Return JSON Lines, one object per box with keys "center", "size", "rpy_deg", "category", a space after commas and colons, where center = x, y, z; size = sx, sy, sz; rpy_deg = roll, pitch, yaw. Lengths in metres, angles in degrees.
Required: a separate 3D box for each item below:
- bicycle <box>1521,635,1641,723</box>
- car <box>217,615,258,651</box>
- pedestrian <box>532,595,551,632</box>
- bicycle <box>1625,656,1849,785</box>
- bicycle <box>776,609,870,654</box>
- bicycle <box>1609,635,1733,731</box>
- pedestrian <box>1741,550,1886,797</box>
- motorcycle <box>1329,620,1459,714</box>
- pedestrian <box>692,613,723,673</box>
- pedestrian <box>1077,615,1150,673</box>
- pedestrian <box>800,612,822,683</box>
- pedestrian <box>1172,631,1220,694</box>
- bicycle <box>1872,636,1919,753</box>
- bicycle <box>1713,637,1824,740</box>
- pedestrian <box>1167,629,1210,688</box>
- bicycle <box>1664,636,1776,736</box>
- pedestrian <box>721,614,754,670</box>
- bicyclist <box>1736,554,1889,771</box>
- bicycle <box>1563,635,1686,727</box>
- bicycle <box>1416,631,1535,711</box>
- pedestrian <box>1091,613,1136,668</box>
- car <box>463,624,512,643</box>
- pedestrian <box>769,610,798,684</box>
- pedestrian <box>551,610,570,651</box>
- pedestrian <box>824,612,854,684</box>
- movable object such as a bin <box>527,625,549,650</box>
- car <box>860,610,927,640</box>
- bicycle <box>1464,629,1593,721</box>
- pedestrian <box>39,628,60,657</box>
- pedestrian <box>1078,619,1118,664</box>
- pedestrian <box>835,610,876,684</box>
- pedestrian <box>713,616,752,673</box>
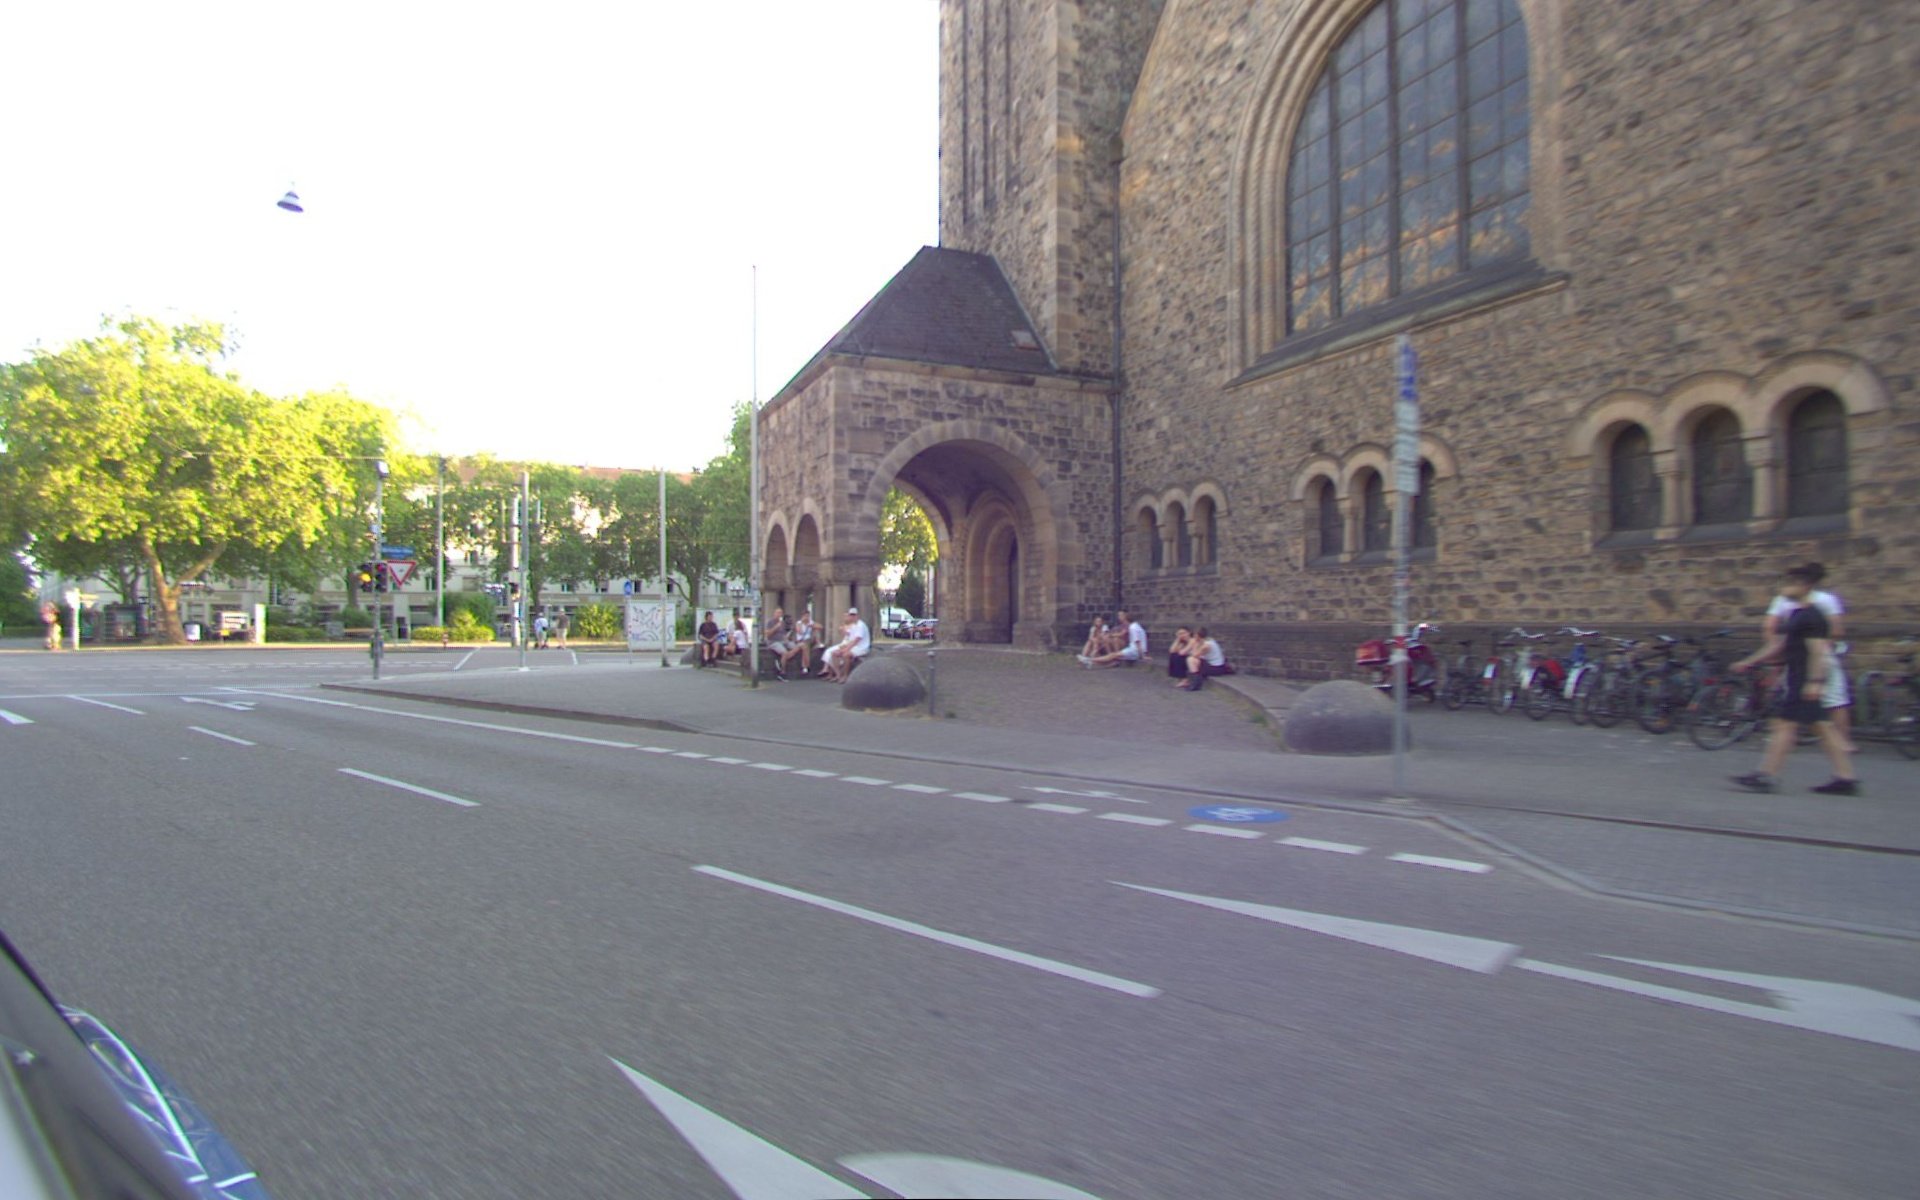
{"center": [7.614, 0.933, 12.374], "size": [1.974, 0.997, 0.467], "rpy_deg": [1, -2, -34], "category": "bicycle"}
{"center": [-43.122, 1.960, 60.470], "size": [1.837, 2.029, 3.820], "rpy_deg": [1, -2, -34], "category": "car"}
{"center": [-19.148, 0.631, 46.303], "size": [0.708, 1.646, 1.010], "rpy_deg": [1, -2, -29], "category": "pedestrian"}
{"center": [7.283, 1.089, 9.475], "size": [2.150, 1.020, 0.555], "rpy_deg": [-1, 0, -19], "category": "bicycle"}
{"center": [-3.341, 0.769, 24.795], "size": [2.247, 1.065, 0.597], "rpy_deg": [1, -2, -31], "category": "bicycle"}
{"center": [8.086, 0.905, 11.479], "size": [1.957, 0.997, 0.467], "rpy_deg": [1, -2, -34], "category": "bicycle"}
{"center": [6.418, 0.526, 7.611], "size": [0.681, 1.738, 0.717], "rpy_deg": [1, -2, -42], "category": "pedestrian"}
{"center": [6.103, 0.888, 14.143], "size": [0.822, 1.134, 2.387], "rpy_deg": [-2, 0, 45], "category": "motorcycle"}
{"center": [-6.394, 1.079, 25.601], "size": [0.619, 1.465, 0.918], "rpy_deg": [1, -2, -23], "category": "pedestrian"}
{"center": [2.978, 0.848, 19.731], "size": [1.315, 1.102, 0.685], "rpy_deg": [0, -2, 2], "category": "pedestrian"}
{"center": [-3.014, 0.951, 20.475], "size": [0.395, 1.417, 0.549], "rpy_deg": [0, -2, -14], "category": "pedestrian"}
{"center": [3.790, 0.993, 16.270], "size": [0.688, 0.999, 0.560], "rpy_deg": [0, -2, 8], "category": "pedestrian"}
{"center": [9.078, 0.843, 9.406], "size": [1.853, 0.997, 0.442], "rpy_deg": [1, -2, -34], "category": "bicycle"}
{"center": [8.544, 0.895, 10.666], "size": [1.853, 0.997, 0.371], "rpy_deg": [1, -2, -34], "category": "bicycle"}
{"center": [3.809, 0.967, 16.878], "size": [0.642, 0.975, 0.560], "rpy_deg": [0, -2, 8], "category": "pedestrian"}
{"center": [8.310, 0.905, 11.040], "size": [1.853, 0.997, 0.371], "rpy_deg": [1, -2, -34], "category": "bicycle"}
{"center": [-5.685, 1.064, 25.862], "size": [0.790, 1.385, 0.701], "rpy_deg": [0, -2, -15], "category": "pedestrian"}
{"center": [7.871, 0.538, 9.354], "size": [0.926, 1.894, 0.710], "rpy_deg": [-1, -1, -24], "category": "bicyclist"}
{"center": [7.850, 0.923, 11.918], "size": [1.974, 0.997, 0.467], "rpy_deg": [1, -2, -34], "category": "bicycle"}
{"center": [6.962, 0.921, 13.639], "size": [1.975, 0.997, 0.587], "rpy_deg": [1, -2, -36], "category": "bicycle"}
{"center": [3.089, 0.816, 20.426], "size": [0.819, 1.084, 0.647], "rpy_deg": [0, -2, 1], "category": "pedestrian"}
{"center": [-44.741, 3.179, 95.885], "size": [3.932, 1.719, 2.006], "rpy_deg": [0, -2, -15], "category": "car"}
{"center": [-3.536, 0.930, 20.262], "size": [0.541, 1.464, 0.559], "rpy_deg": [0, -2, -14], "category": "pedestrian"}
{"center": [-18.384, 1.392, 46.559], "size": [0.699, 1.861, 1.163], "rpy_deg": [1, -2, -29], "category": "pedestrian"}
{"center": [-2.404, 0.953, 20.161], "size": [0.539, 1.417, 0.460], "rpy_deg": [0, -2, -14], "category": "pedestrian"}
{"center": [-19.700, 1.739, 47.278], "size": [0.847, 1.128, 1.141], "rpy_deg": [1, -2, -28], "category": "movable object such as a bin"}
{"center": [-5.860, 2.212, 89.405], "size": [5.482, 2.638, 2.006], "rpy_deg": [0, -2, -25], "category": "car"}
{"center": [7.308, 0.923, 12.975], "size": [1.975, 0.996, 0.587], "rpy_deg": [-3, 0, -34], "category": "bicycle"}
{"center": [-51.532, 2.400, 57.282], "size": [0.734, 1.641, 0.661], "rpy_deg": [0, -2, -32], "category": "pedestrian"}
{"center": [2.870, 0.865, 21.100], "size": [0.730, 0.923, 0.647], "rpy_deg": [0, -1, 1], "category": "pedestrian"}
{"center": [-2.025, 0.898, 19.567], "size": [0.692, 1.417, 0.634], "rpy_deg": [0, -2, -14], "category": "pedestrian"}
{"center": [-5.604, 1.087, 24.962], "size": [0.793, 1.385, 0.699], "rpy_deg": [0, -2, 2], "category": "pedestrian"}
